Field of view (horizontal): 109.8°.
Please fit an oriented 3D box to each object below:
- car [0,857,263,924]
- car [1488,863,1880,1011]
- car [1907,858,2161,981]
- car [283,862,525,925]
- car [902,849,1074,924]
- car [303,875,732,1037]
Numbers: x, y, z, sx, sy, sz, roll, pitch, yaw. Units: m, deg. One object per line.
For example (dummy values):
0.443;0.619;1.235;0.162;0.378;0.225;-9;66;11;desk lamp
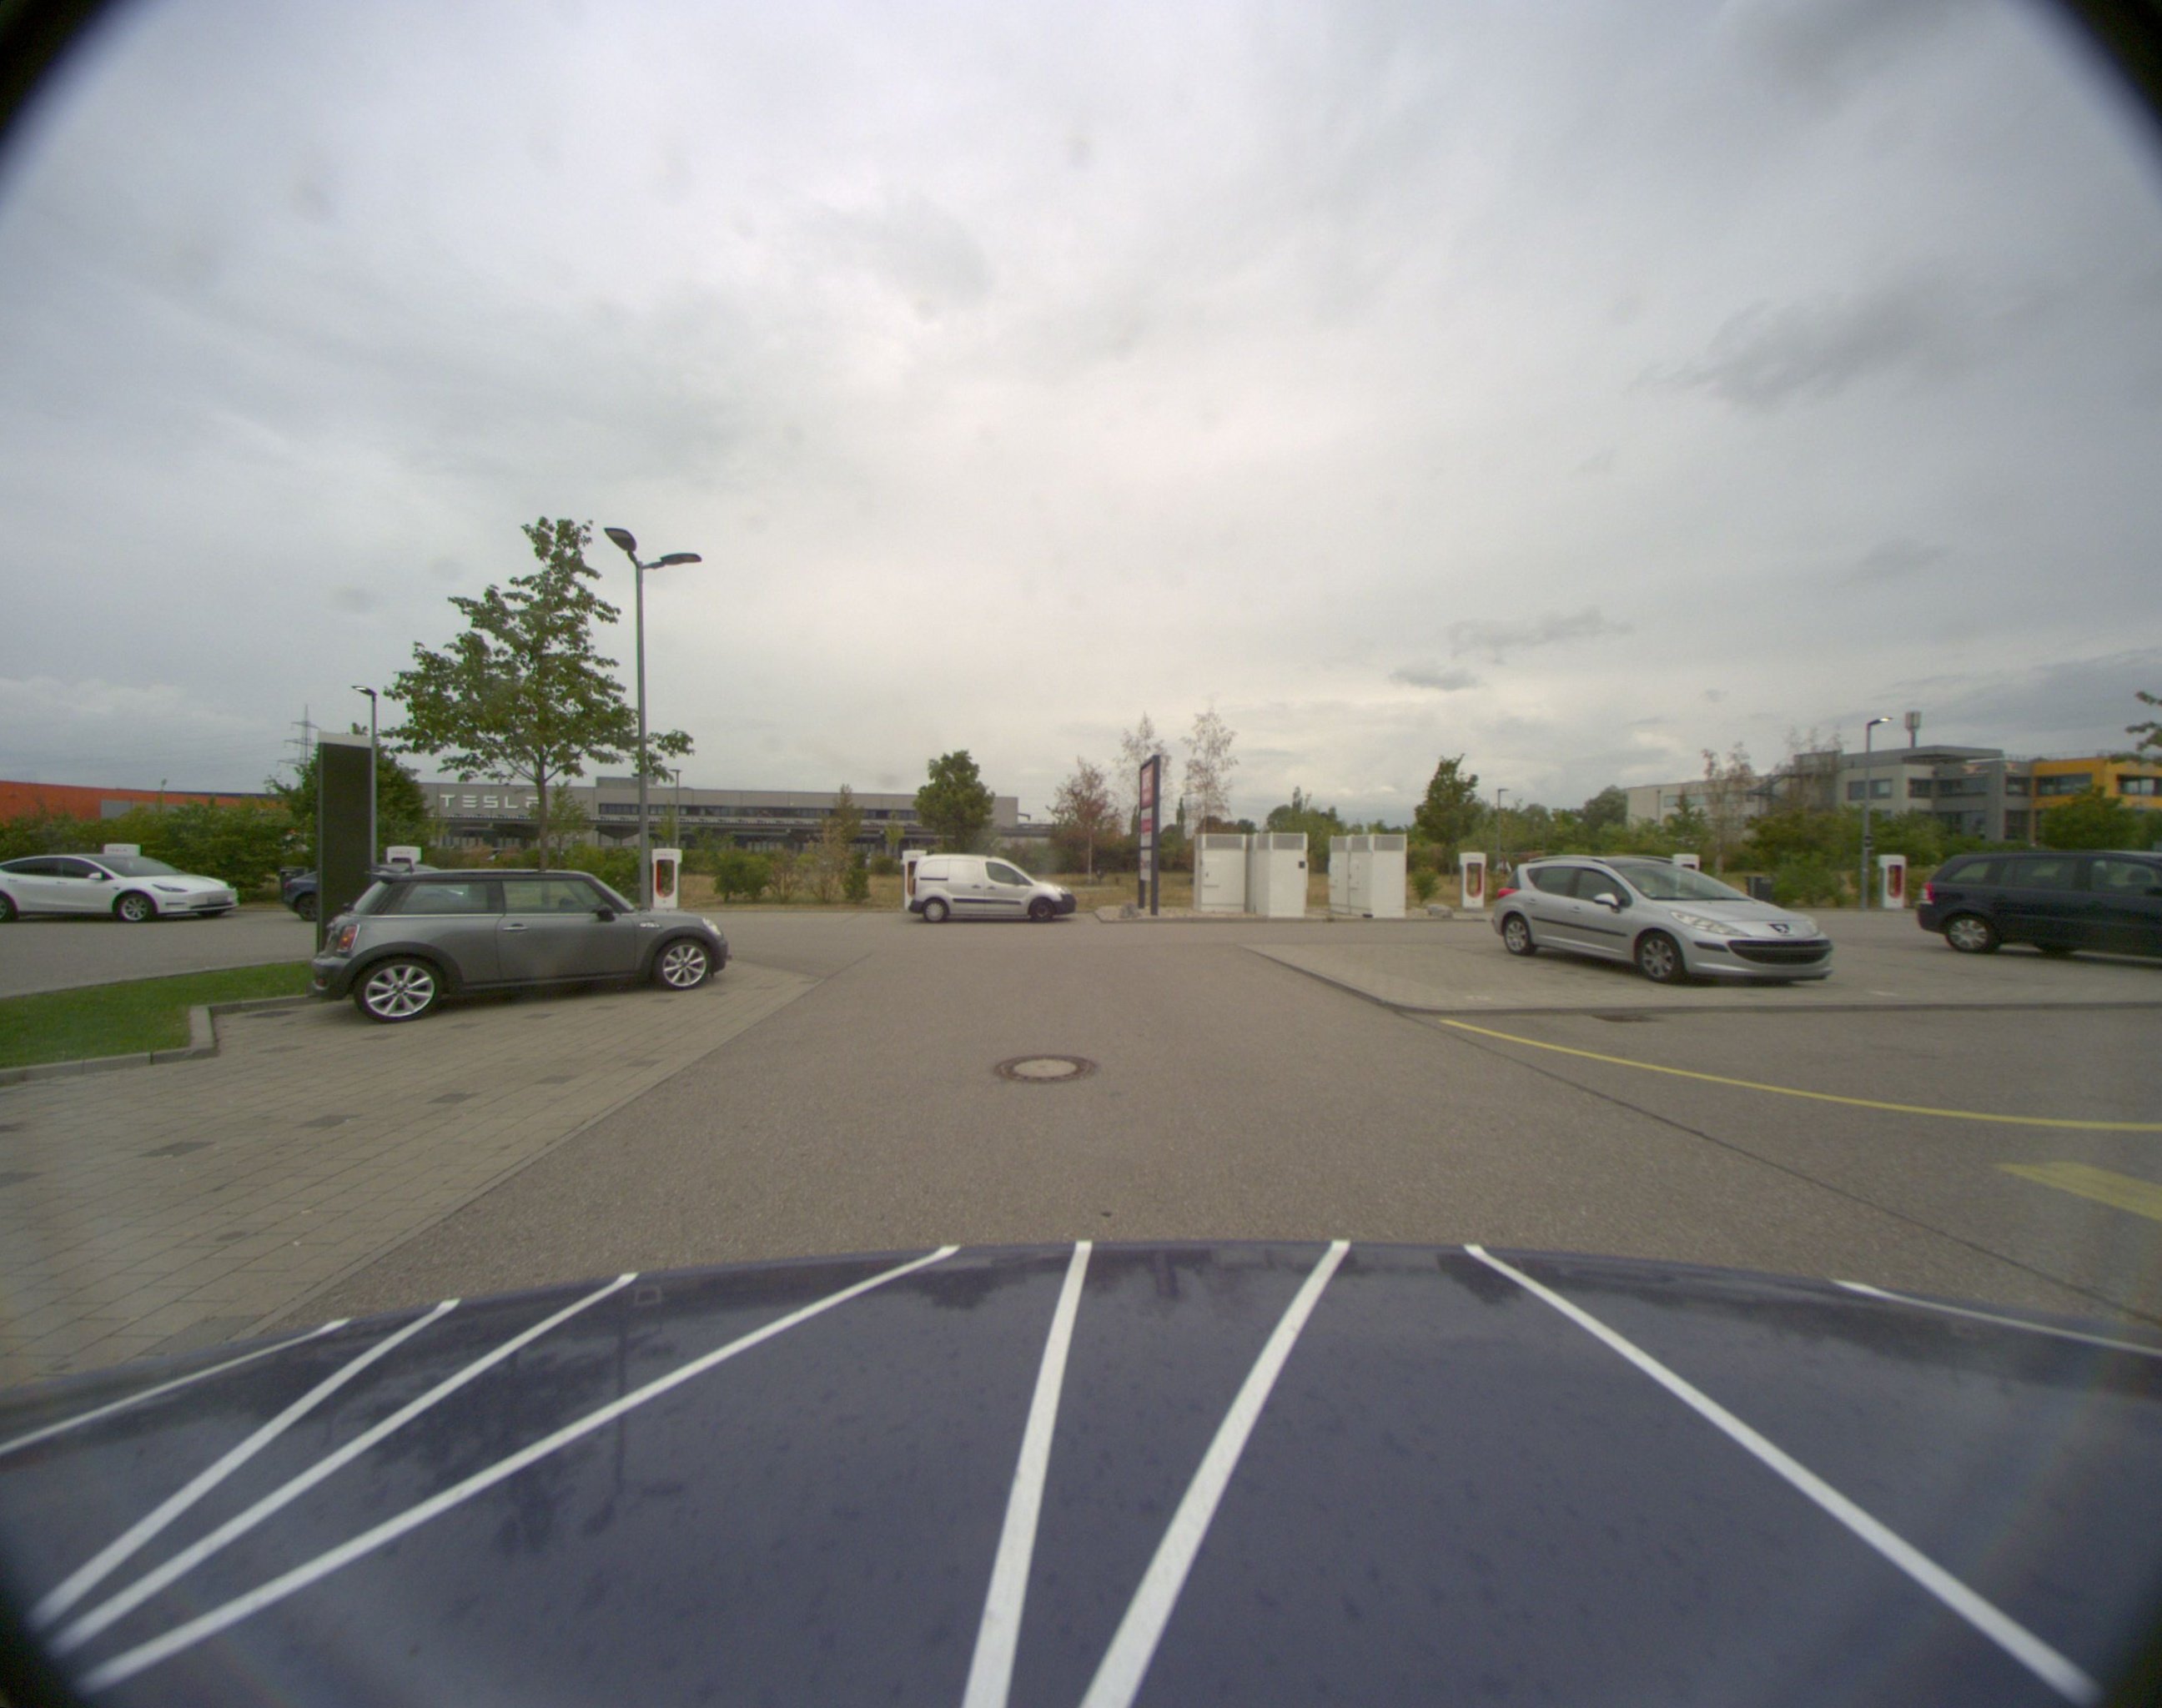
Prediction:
-23.868;0.876;18.914;4.477;1.544;2.072;0;0;-6;car
7.467;0.901;10.061;1.628;1.496;4.166;1;0;-5;car
14.859;0.865;10.581;1.585;1.607;4.484;1;0;-5;car
-17.177;0.980;19.468;4.454;1.450;1.833;1;1;-3;car
-2.450;0.872;20.419;4.336;1.876;1.945;1;-1;-5;car
-5.976;0.938;8.340;1.605;1.368;3.535;0;-2;45;car
